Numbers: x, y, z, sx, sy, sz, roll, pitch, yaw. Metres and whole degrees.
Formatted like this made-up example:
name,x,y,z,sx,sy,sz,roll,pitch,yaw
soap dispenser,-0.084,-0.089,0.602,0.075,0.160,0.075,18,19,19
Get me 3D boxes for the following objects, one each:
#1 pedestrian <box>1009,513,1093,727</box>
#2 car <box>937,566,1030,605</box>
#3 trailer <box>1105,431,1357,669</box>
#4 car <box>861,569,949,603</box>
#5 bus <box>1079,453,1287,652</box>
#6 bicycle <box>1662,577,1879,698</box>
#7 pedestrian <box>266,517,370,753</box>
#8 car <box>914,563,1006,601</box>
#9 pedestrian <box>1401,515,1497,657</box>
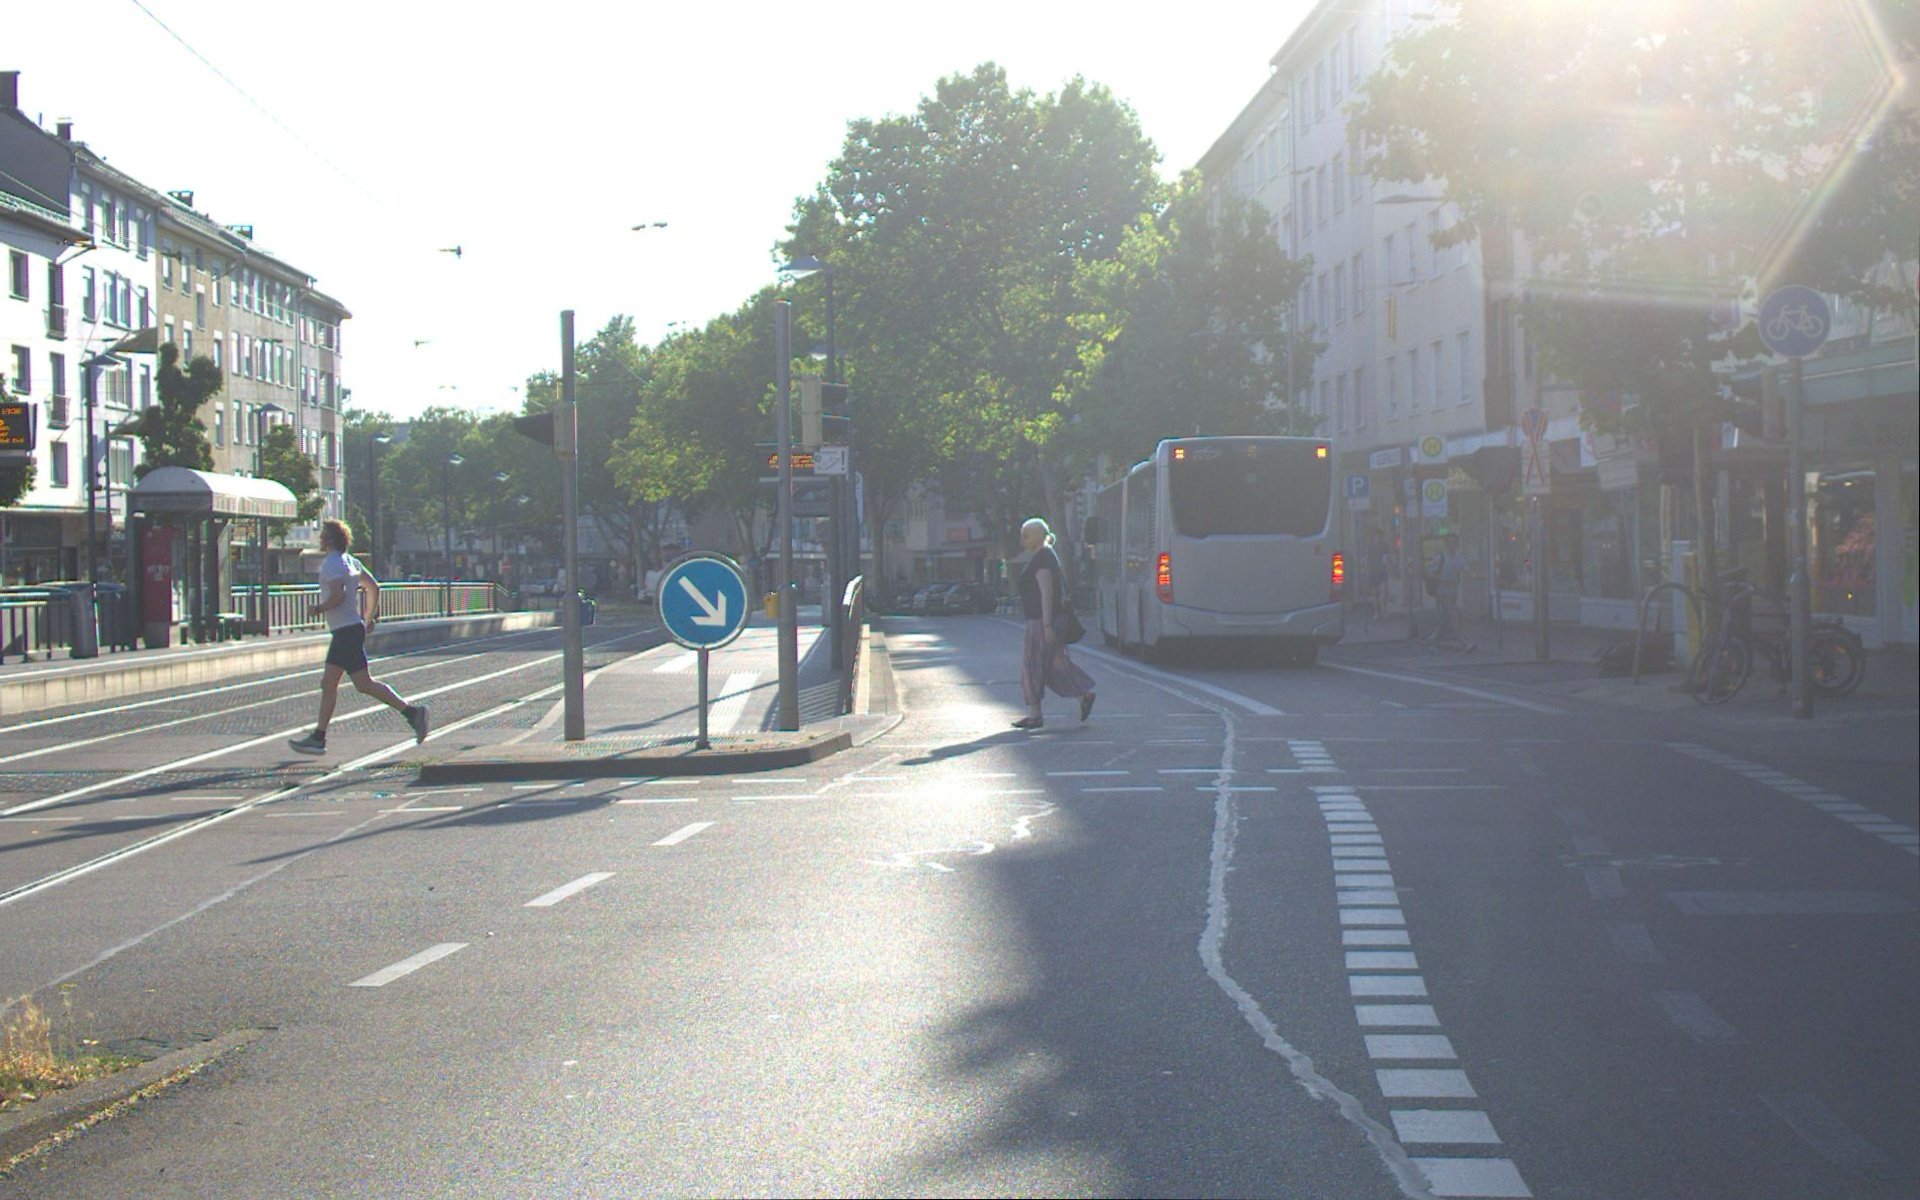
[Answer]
name,x,y,z,sx,sy,sz,roll,pitch,yaw
pedestrian,0.758,0.162,28.765,0.680,1.764,0.687,0,1,0
car,1.093,-0.692,158.472,3.889,1.693,1.833,-2,1,-29
trailer,3.769,-0.716,49.913,2.812,3.100,8.795,1,1,-1
car,-2.672,-0.682,166.786,3.889,1.591,1.691,-2,1,-29
bus,3.677,-0.815,58.865,2.812,3.091,9.095,1,1,-1
bicycle,7.379,0.336,31.332,1.772,1.018,0.694,-2,1,-1
pedestrian,-4.902,0.257,26.281,0.680,1.764,0.687,-1,1,-5
car,-0.014,-0.841,161.300,3.889,1.693,1.833,-2,1,-29
pedestrian,7.007,-0.197,49.282,0.954,2.007,0.917,1,1,-37
